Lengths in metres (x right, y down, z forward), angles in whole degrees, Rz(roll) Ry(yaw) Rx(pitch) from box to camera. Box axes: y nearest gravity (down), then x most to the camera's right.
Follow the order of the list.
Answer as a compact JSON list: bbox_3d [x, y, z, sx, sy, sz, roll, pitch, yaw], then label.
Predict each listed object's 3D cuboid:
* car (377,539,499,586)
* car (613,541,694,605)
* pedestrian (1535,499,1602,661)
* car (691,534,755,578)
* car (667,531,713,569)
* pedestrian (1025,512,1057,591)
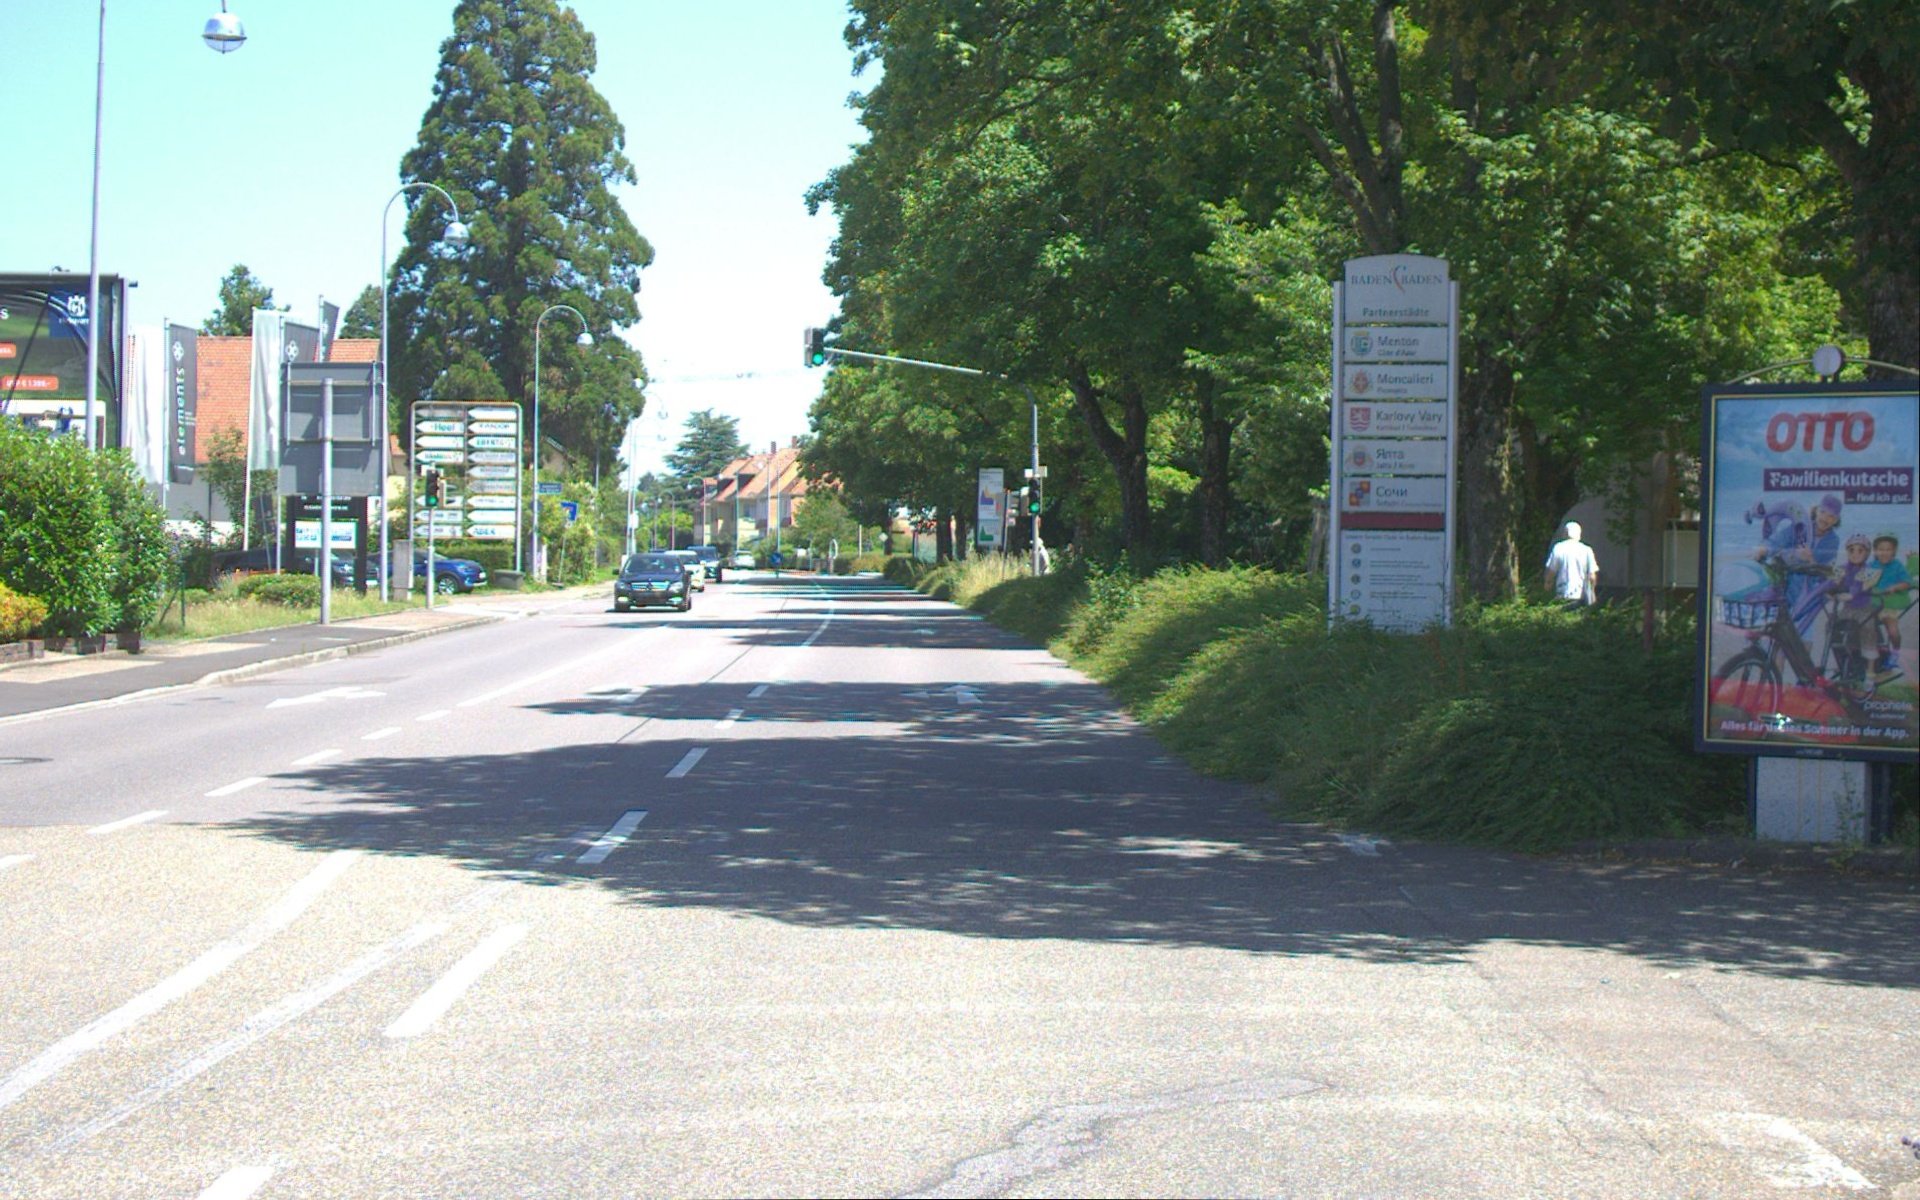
[{"bbox_3d":[-15.816,-1.147,104.282,3.490,1.422,1.601,0,1,-2],"label":"car"},{"bbox_3d":[-7.508,-0.692,84.579,1.710,1.490,4.278,0,2,-1],"label":"car"},{"bbox_3d":[7.272,-0.241,41.109,0.703,1.908,0.660,0,1,3],"label":"pedestrian"},{"bbox_3d":[-8.537,-1.586,124.190,1.993,1.482,4.310,-1,2,0],"label":"car"},{"bbox_3d":[-12.483,-2.311,159.040,1.879,1.712,4.310,0,1,-1],"label":"car"},{"bbox_3d":[1.806,-1.076,76.686,0.614,1.745,0.562,0,0,15],"label":"pedestrian"}]
